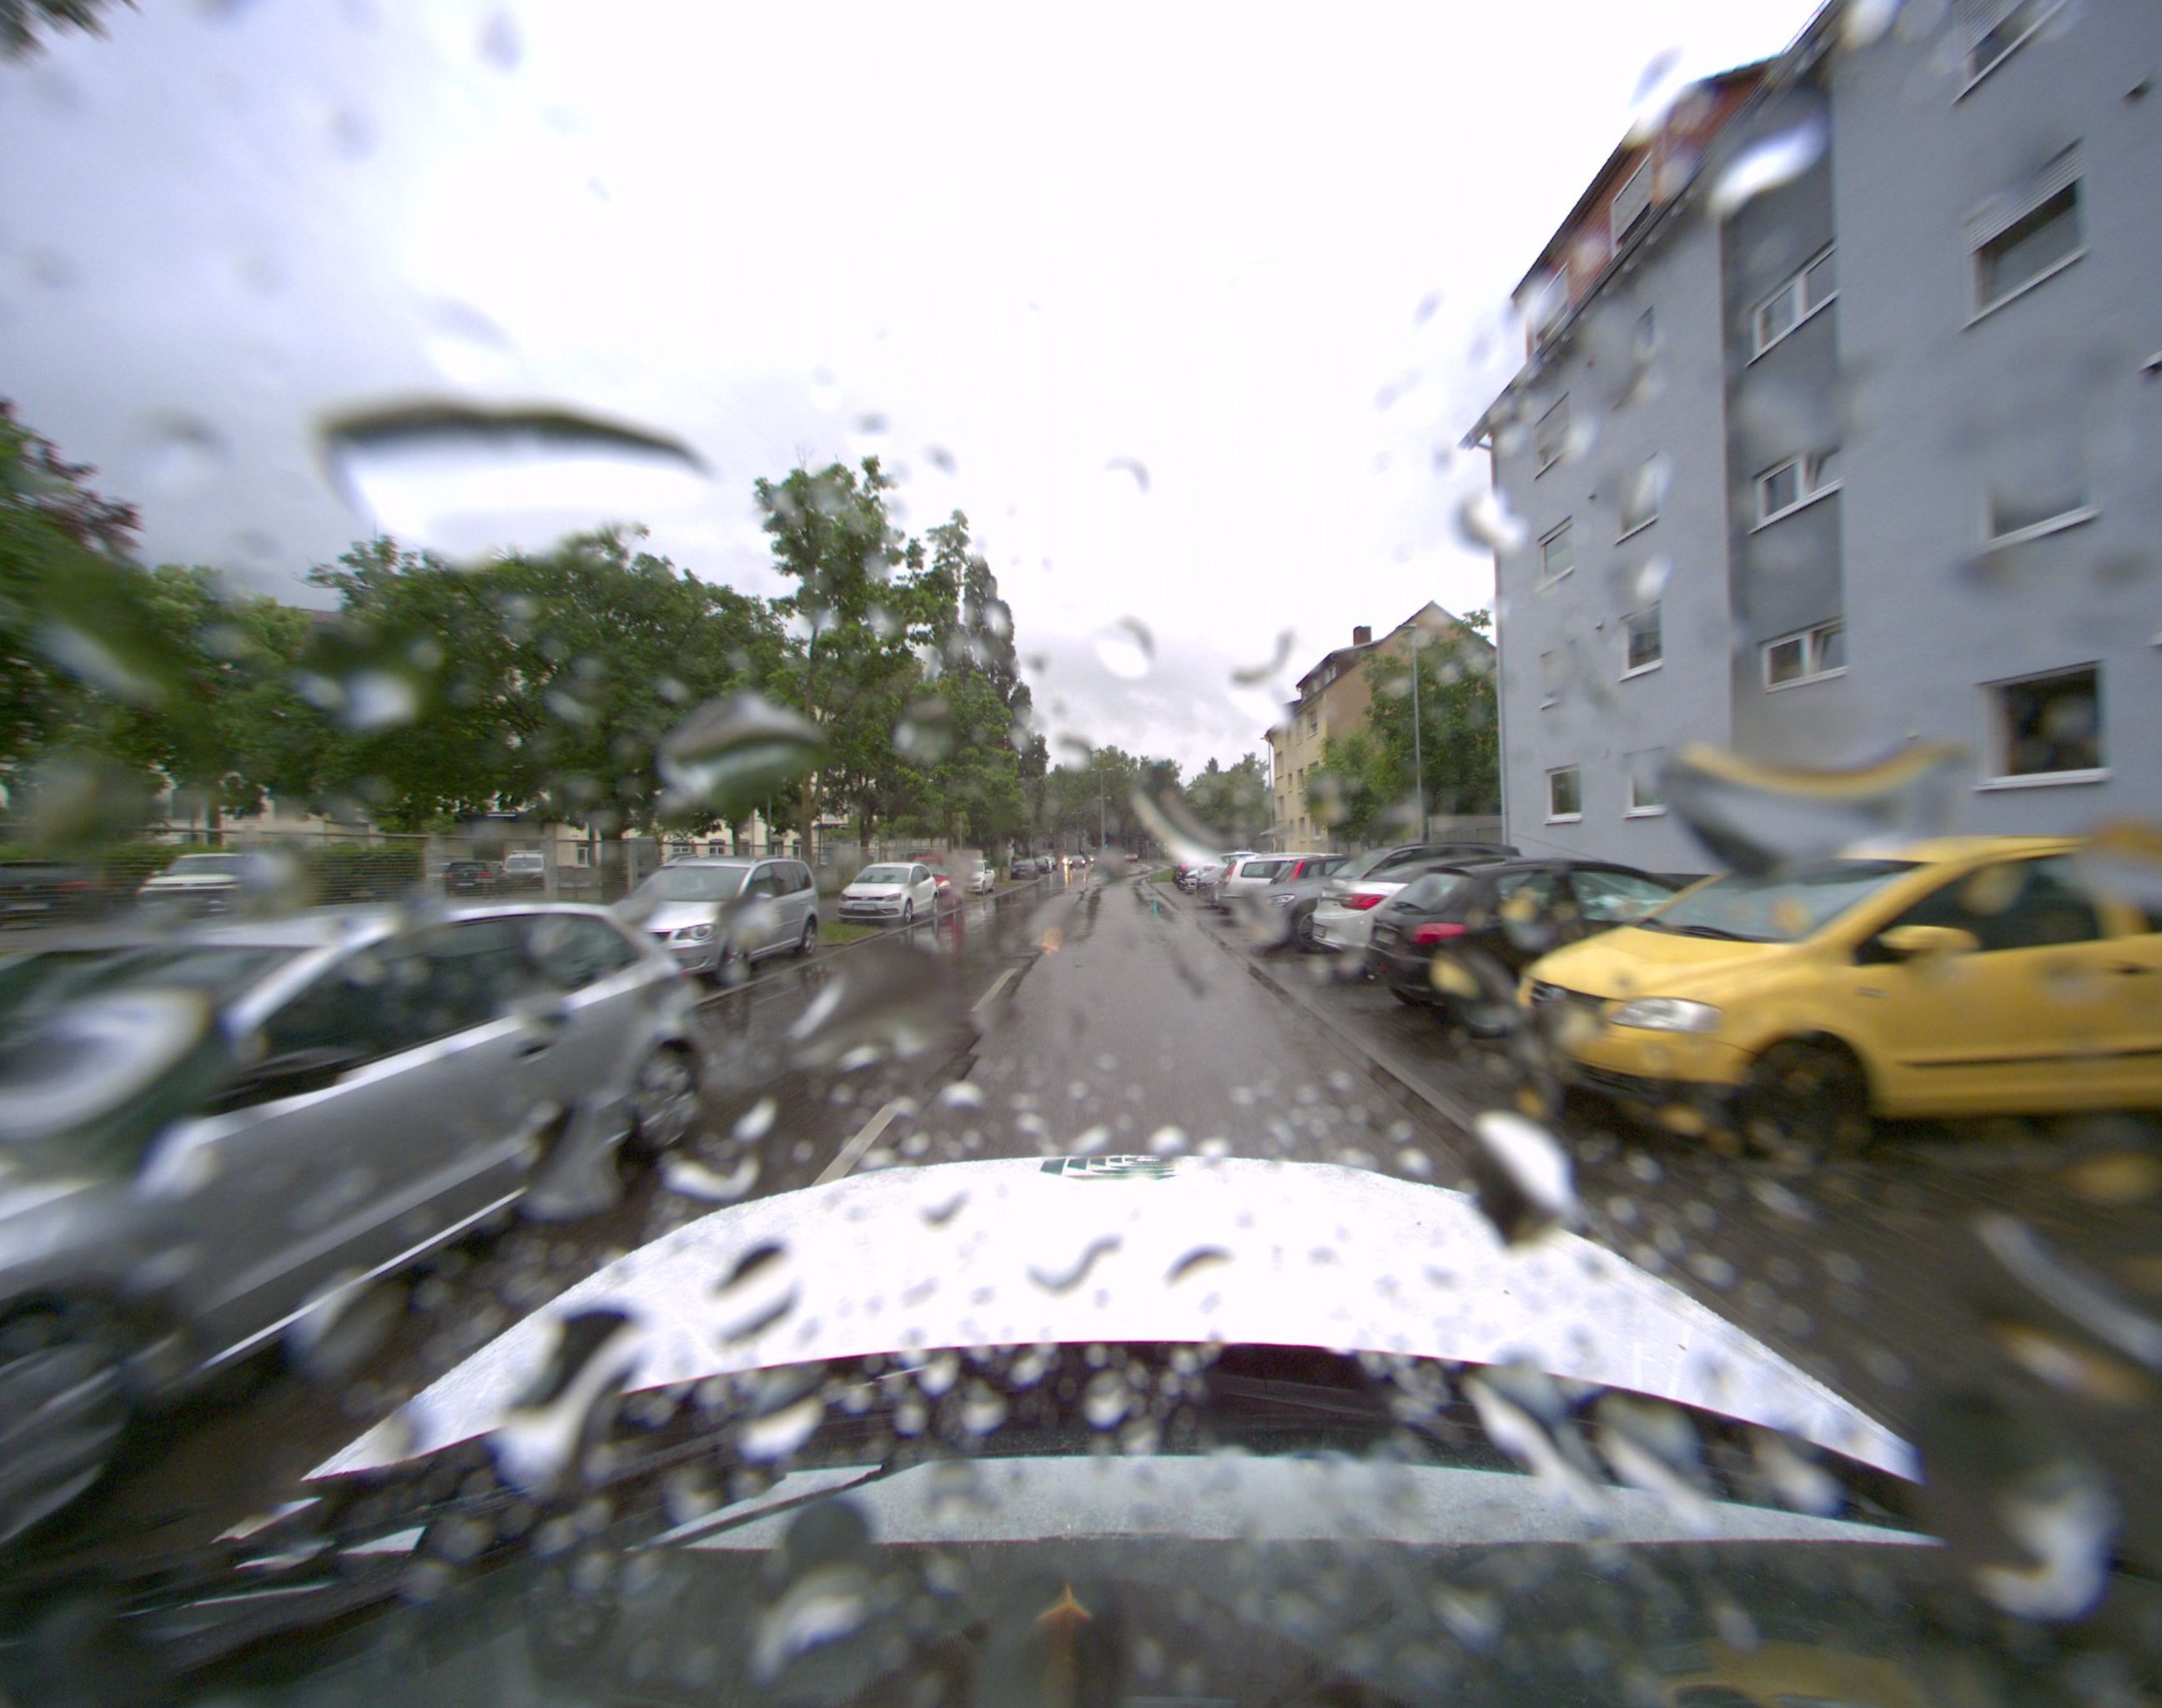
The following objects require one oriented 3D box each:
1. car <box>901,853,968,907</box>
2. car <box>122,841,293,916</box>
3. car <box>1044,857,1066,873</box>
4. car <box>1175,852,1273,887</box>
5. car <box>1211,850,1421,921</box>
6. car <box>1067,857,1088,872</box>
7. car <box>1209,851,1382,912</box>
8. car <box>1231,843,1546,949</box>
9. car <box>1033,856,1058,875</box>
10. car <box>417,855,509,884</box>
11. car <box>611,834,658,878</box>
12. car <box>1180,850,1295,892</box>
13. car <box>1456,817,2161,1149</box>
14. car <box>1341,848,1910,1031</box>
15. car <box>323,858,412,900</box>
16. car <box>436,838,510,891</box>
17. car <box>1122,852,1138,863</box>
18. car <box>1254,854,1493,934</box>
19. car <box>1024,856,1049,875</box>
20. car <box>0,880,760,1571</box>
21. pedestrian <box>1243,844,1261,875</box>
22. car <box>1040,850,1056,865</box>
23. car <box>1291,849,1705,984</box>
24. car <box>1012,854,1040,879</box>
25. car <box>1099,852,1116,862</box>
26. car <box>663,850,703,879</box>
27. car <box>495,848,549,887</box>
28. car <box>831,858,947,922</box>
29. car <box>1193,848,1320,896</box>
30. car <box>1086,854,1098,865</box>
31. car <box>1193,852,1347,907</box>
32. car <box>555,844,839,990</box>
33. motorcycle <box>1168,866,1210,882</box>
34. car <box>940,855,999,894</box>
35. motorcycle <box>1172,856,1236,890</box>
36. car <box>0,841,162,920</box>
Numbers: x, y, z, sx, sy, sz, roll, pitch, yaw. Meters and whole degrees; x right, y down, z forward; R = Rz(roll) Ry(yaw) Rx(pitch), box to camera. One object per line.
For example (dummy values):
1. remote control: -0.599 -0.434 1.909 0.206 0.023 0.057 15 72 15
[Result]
1. car: -4.632 0.783 26.174 1.621 1.598 4.196 0 0 -4
2. car: -20.368 0.562 19.209 1.858 1.573 3.958 0 -1 -34
3. car: -2.669 1.152 85.904 1.918 1.731 4.004 0 0 4
4. car: 6.115 0.652 35.290 3.971 1.461 1.936 0 -1 2
5. car: 5.063 0.665 18.086 4.246 1.454 1.988 0 1 7
6. car: -0.321 1.104 86.711 1.985 1.486 4.003 0 0 3
7. car: 5.304 0.672 20.583 3.968 1.474 1.805 0 -1 4
8. car: 4.753 0.639 13.127 4.325 1.552 2.040 0 -1 1
9. car: -3.259 1.088 75.636 1.918 1.731 4.004 0 0 4
10. car: -35.917 0.861 47.359 4.023 1.546 1.976 -2 2 -44
11. car: -22.755 0.094 41.493 2.006 2.122 3.961 0 -1 -30
12. car: 5.801 0.623 30.511 3.976 1.490 1.861 0 -1 -2
13. car: 4.606 0.608 4.771 3.974 1.552 1.853 0 -1 0
14. car: 4.613 0.691 7.382 3.972 1.442 1.782 0 -1 1
15. car: -27.856 0.933 31.908 2.006 1.509 3.514 0 0 -31
16. car: -24.628 0.432 33.123 2.006 2.014 3.960 0 -1 -31
17. car: 7.279 0.564 120.620 1.846 1.524 3.994 -1 0 -4
18. car: 5.475 0.720 15.655 3.972 1.412 1.846 0 0 1
19. car: -3.748 0.955 69.329 1.923 1.484 3.998 -2 0 -1
20. car: -3.059 0.875 3.037 1.664 1.383 4.258 -1 0 6
21. pedestrian: 11.040 0.364 52.472 1.002 2.014 0.957 -1 -1 19
22. car: -7.386 0.744 180.396 2.226 3.237 4.640 0 -1 -19
23. car: 4.833 0.690 9.985 4.080 1.458 2.002 -1 0 3
24. car: -3.723 0.810 54.516 1.772 1.530 3.994 0 1 -5
25. car: 4.394 0.539 135.753 1.852 1.524 4.133 -1 0 -14
26. car: -20.825 0.527 42.545 1.715 1.434 3.615 0 -1 -29
27. car: -27.126 0.635 39.615 1.941 1.785 3.960 0 -1 -31
28. car: -4.762 0.839 20.804 1.653 1.460 4.179 0 0 5
29. car: 5.938 0.599 27.954 3.974 1.552 1.905 0 -1 0
30. car: 1.685 0.865 124.453 1.736 1.689 3.997 0 0 -2
31. car: 5.219 0.678 22.860 3.971 1.466 1.783 0 0 2
32. car: -5.218 0.731 11.896 1.769 1.680 4.603 1 0 2
33. motorcycle: 5.298 0.973 39.936 2.061 0.792 0.712 0 0 8
34. car: -4.637 0.828 34.498 1.762 1.528 4.599 0 0 1
35. motorcycle: 4.878 0.731 32.442 2.393 1.324 0.918 0 -1 -3
36. car: -22.230 0.578 17.845 2.009 1.557 3.955 -1 -1 -37
